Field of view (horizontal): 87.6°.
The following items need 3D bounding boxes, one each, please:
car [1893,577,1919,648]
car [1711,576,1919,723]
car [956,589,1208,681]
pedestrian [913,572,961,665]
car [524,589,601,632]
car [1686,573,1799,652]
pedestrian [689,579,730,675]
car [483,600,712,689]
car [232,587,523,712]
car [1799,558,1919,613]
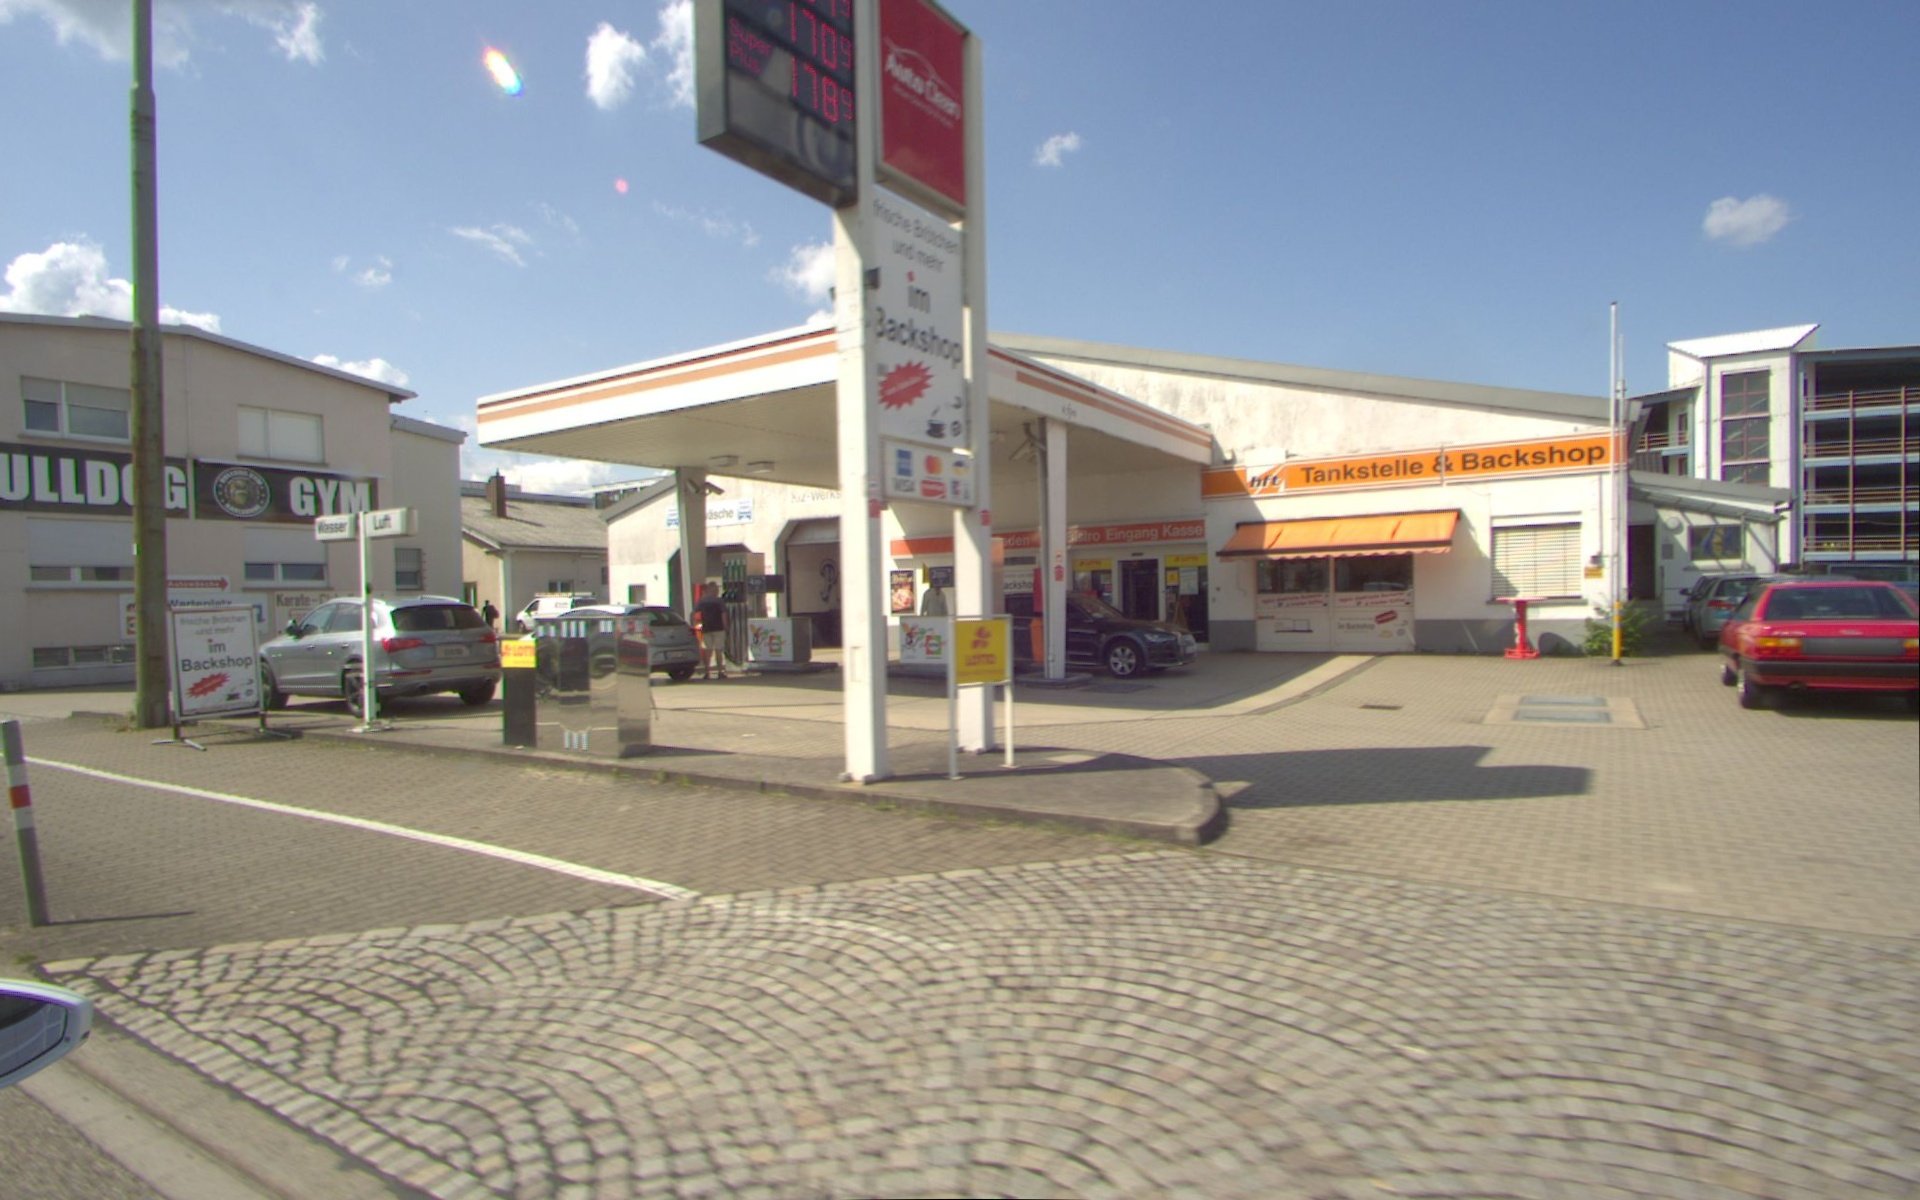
[{"bbox_3d":[17.751,0.198,17.586,1.467,1.241,3.292,-2,0,34],"label":"car"},{"bbox_3d":[10.195,0.475,11.937,1.747,1.443,4.122,-2,0,34],"label":"car"},{"bbox_3d":[2.223,0.572,18.766,4.429,1.540,1.678,1,1,33],"label":"car"},{"bbox_3d":[-0.436,0.363,19.157,0.677,1.744,0.616,-1,-1,33],"label":"pedestrian"},{"bbox_3d":[-20.156,0.583,50.715,3.792,2.058,1.783,-2,-2,33],"label":"car"},{"bbox_3d":[15.708,0.211,20.233,1.507,1.443,3.573,-2,0,34],"label":"car"},{"bbox_3d":[-4.788,0.527,19.124,0.569,1.799,0.496,-1,-1,31],"label":"pedestrian"},{"bbox_3d":[-6.973,0.835,19.131,4.359,1.490,1.688,-2,1,31],"label":"car"},{"bbox_3d":[-8.908,0.712,15.215,4.550,1.646,1.942,-1,-1,32],"label":"car"},{"bbox_3d":[37.031,-0.561,40.110,4.872,2.039,1.964,-2,-2,29],"label":"car"}]
